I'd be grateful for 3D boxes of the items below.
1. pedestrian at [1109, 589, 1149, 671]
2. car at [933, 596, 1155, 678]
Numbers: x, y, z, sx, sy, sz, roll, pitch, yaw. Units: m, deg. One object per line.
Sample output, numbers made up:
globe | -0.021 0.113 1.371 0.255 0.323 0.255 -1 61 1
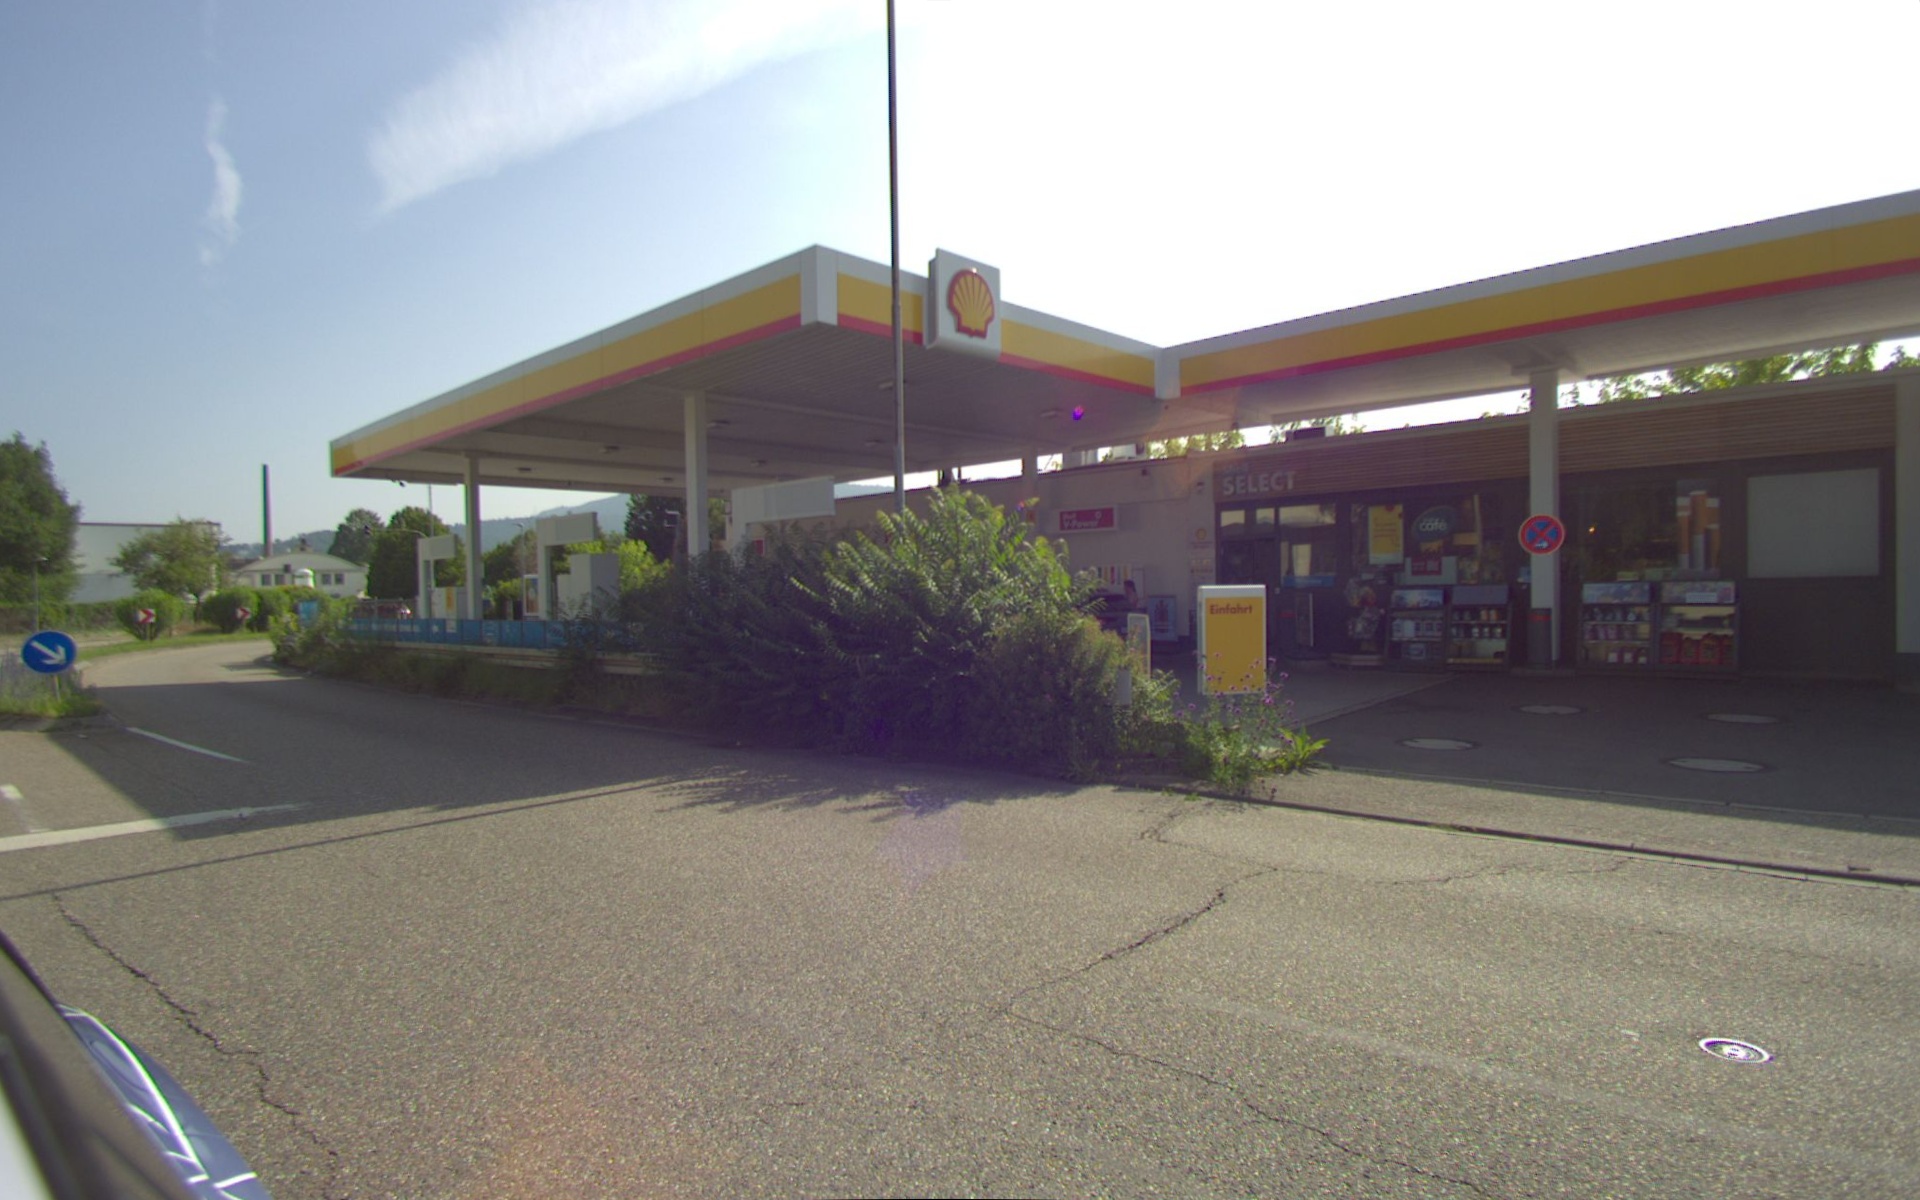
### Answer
pedestrian | 3.296 0.580 19.748 0.535 1.559 0.552 -1 -1 44
car | 1.516 0.660 19.547 4.229 1.422 1.609 -1 -1 44
